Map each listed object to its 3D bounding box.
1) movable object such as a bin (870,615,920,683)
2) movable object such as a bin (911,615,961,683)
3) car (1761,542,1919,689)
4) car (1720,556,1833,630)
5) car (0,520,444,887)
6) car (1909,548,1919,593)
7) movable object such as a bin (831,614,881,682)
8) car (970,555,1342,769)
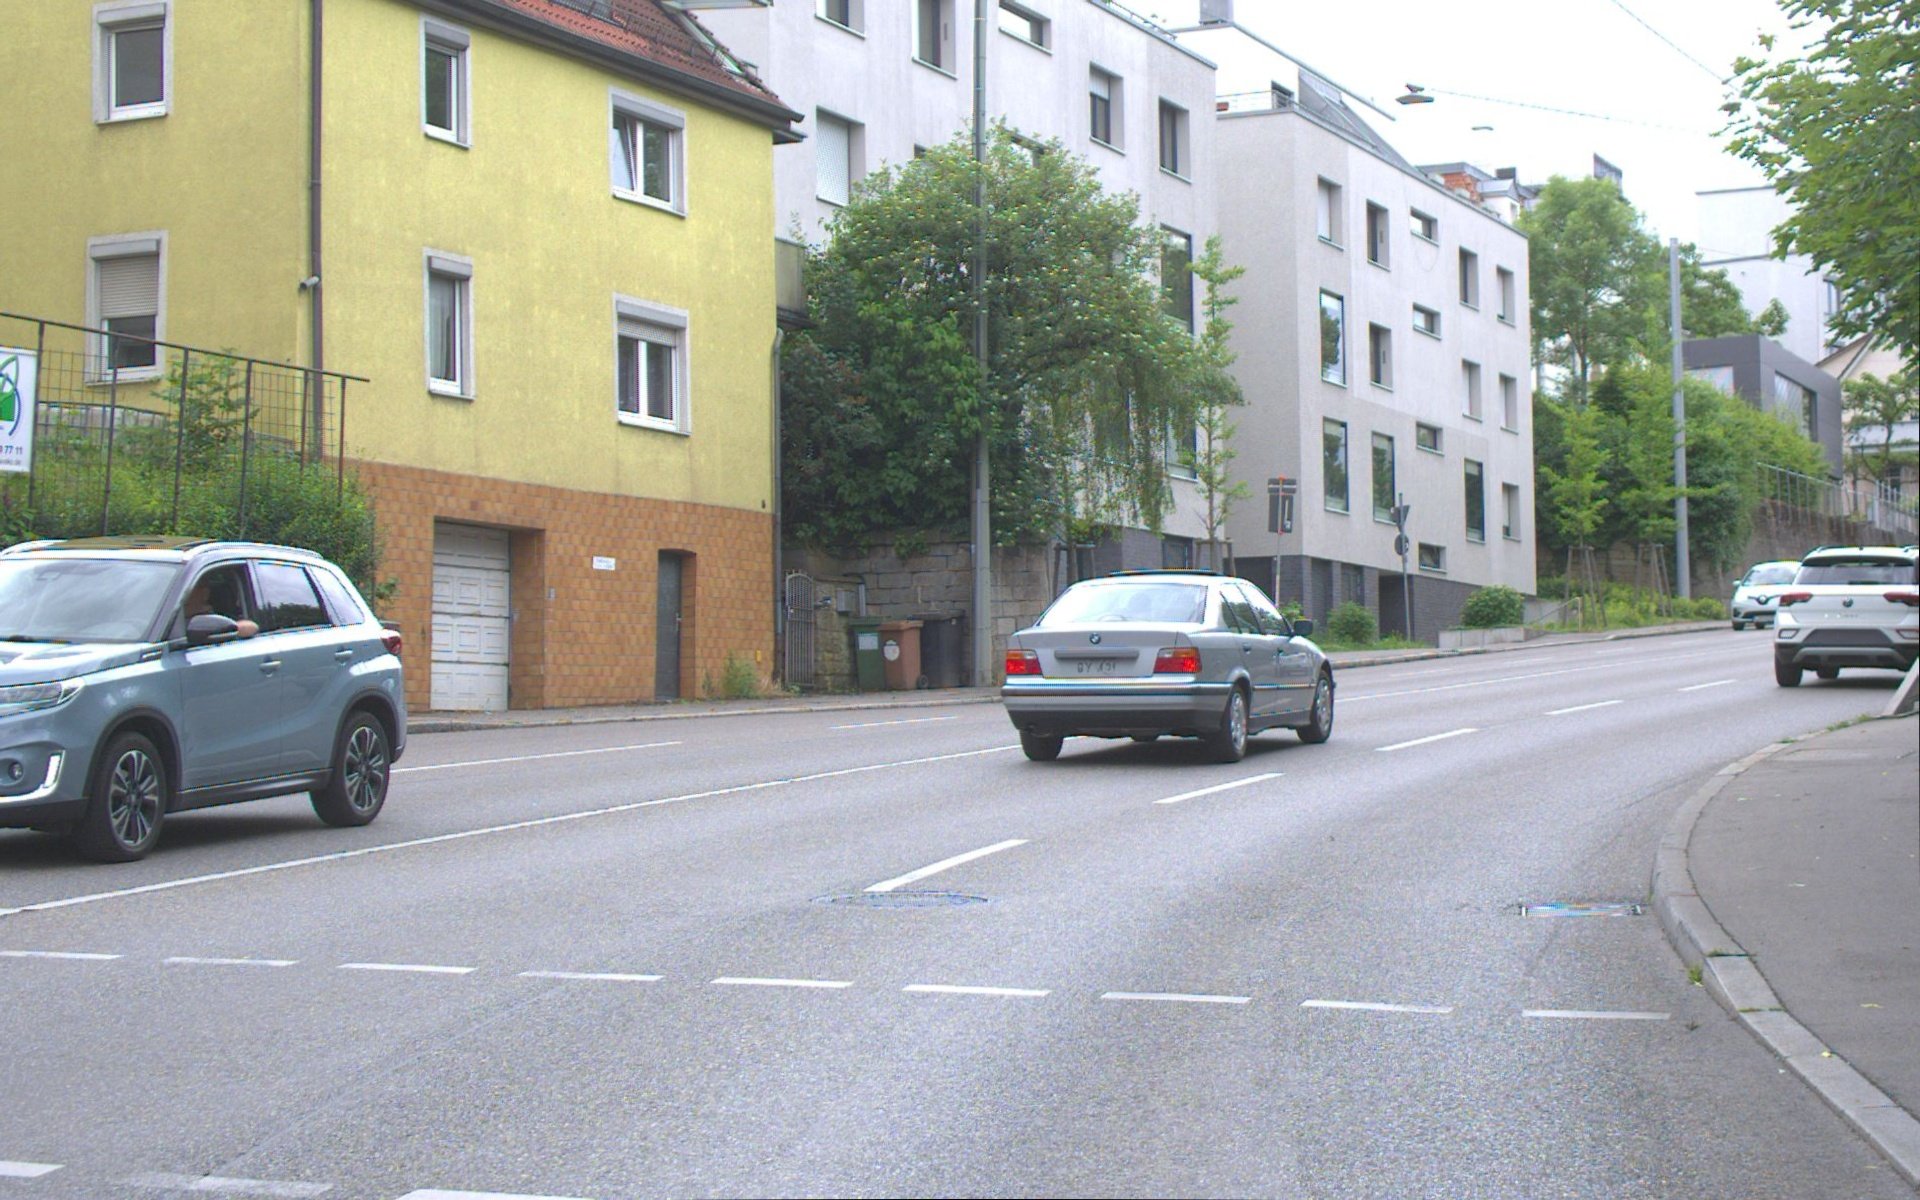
[{"bbox_3d":[-0.859,0.649,45.609,0.568,0.882,0.610,1,1,8],"label":"movable object such as a bin"},{"bbox_3d":[-0.318,0.646,45.841,0.568,0.882,0.610,1,1,8],"label":"movable object such as a bin"},{"bbox_3d":[10.477,0.159,39.296,1.782,1.573,3.995,1,0,25],"label":"car"},{"bbox_3d":[19.547,-0.182,82.192,1.746,1.608,4.051,-3,0,25],"label":"car"},{"bbox_3d":[-4.547,0.472,18.216,1.897,1.689,4.344,1,0,17],"label":"car"},{"bbox_3d":[32.758,-1.029,114.229,1.775,1.459,4.186,-2,0,23],"label":"car"},{"bbox_3d":[-1.399,0.641,46.314,0.568,0.882,0.610,1,1,8],"label":"movable object such as a bin"},{"bbox_3d":[1.581,0.432,26.218,1.708,1.459,3.996,2,0,20],"label":"car"}]
